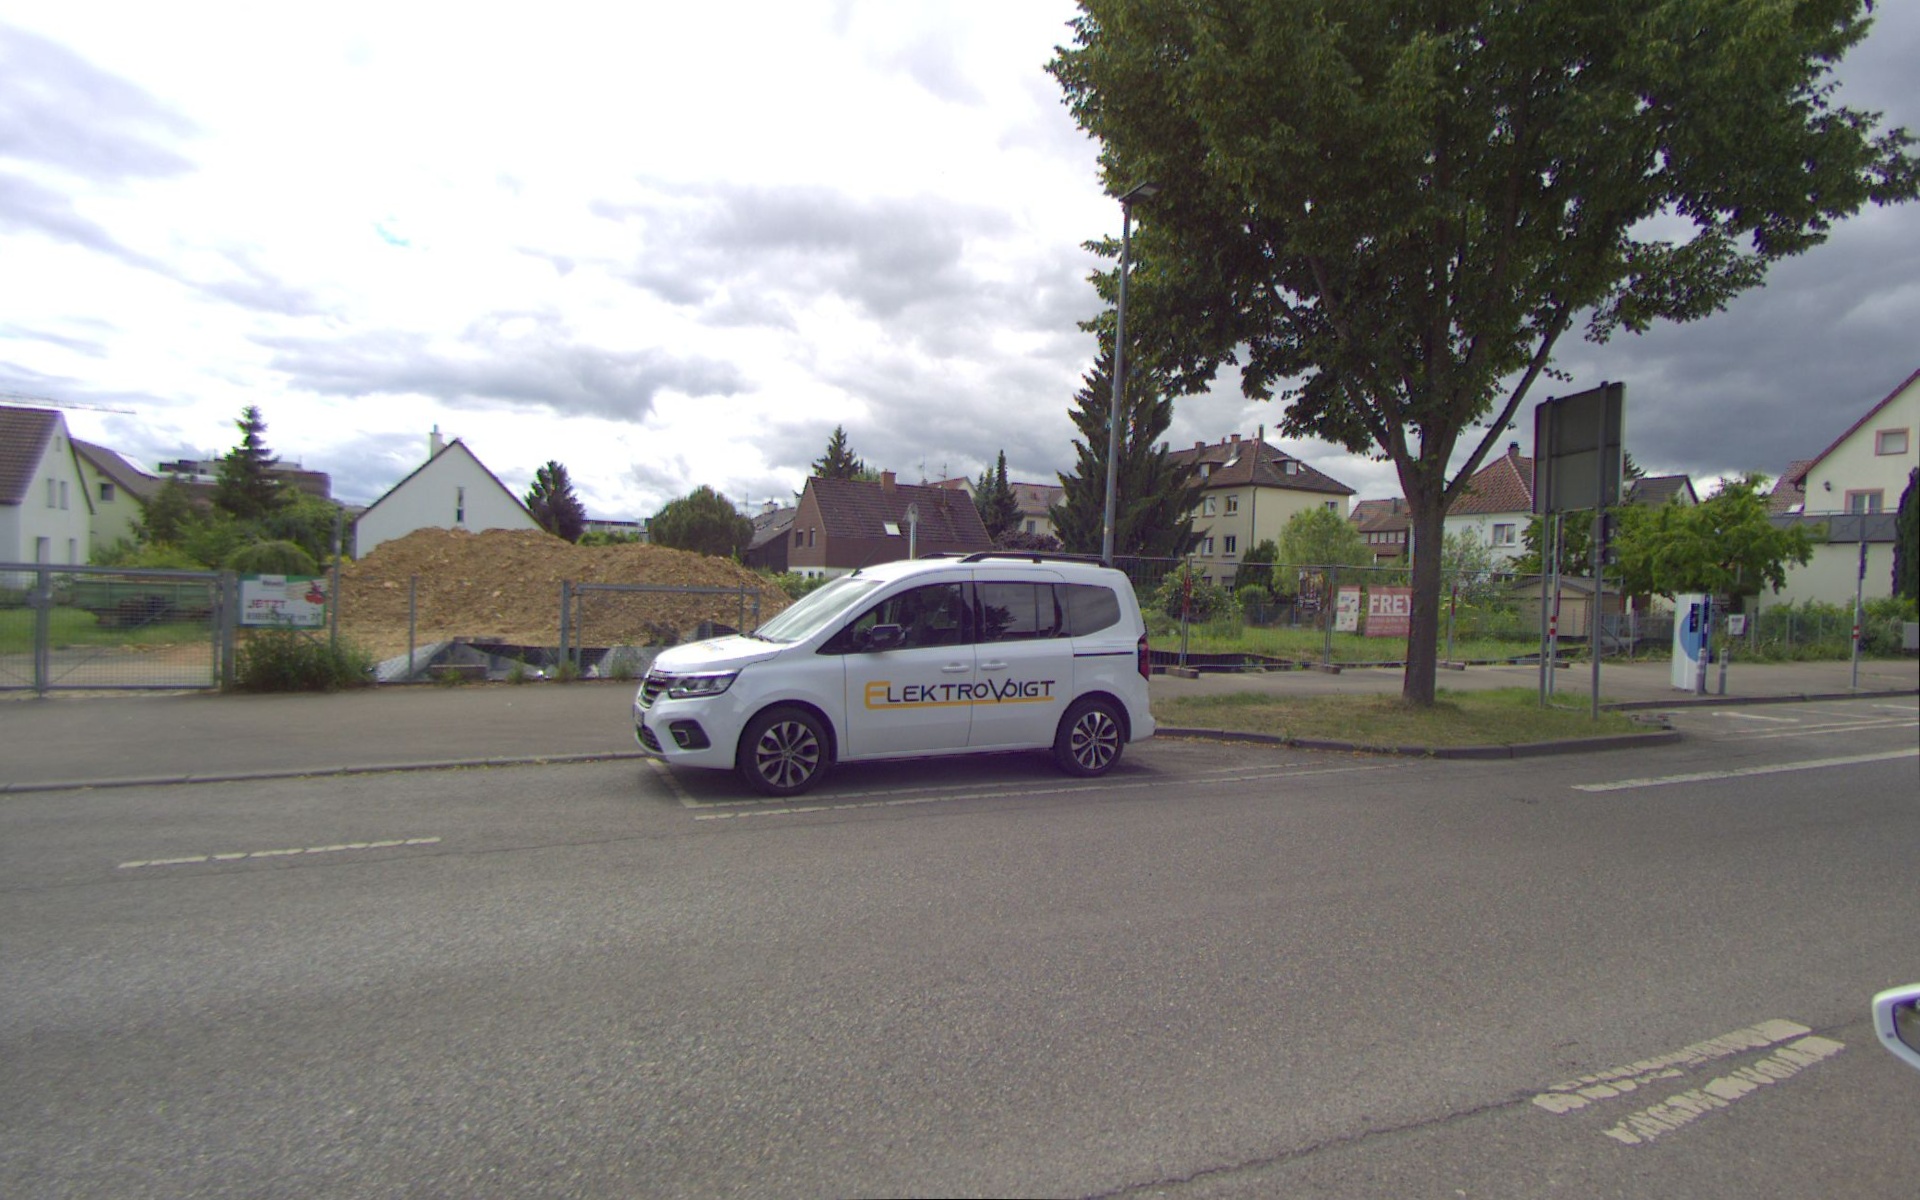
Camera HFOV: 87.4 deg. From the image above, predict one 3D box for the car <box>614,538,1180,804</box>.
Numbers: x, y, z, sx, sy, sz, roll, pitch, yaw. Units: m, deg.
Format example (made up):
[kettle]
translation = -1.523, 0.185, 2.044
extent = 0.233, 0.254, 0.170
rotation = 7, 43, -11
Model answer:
[car]
translation = -0.482, 0.505, 8.592
extent = 4.492, 1.794, 1.764
rotation = 1, 1, -27
